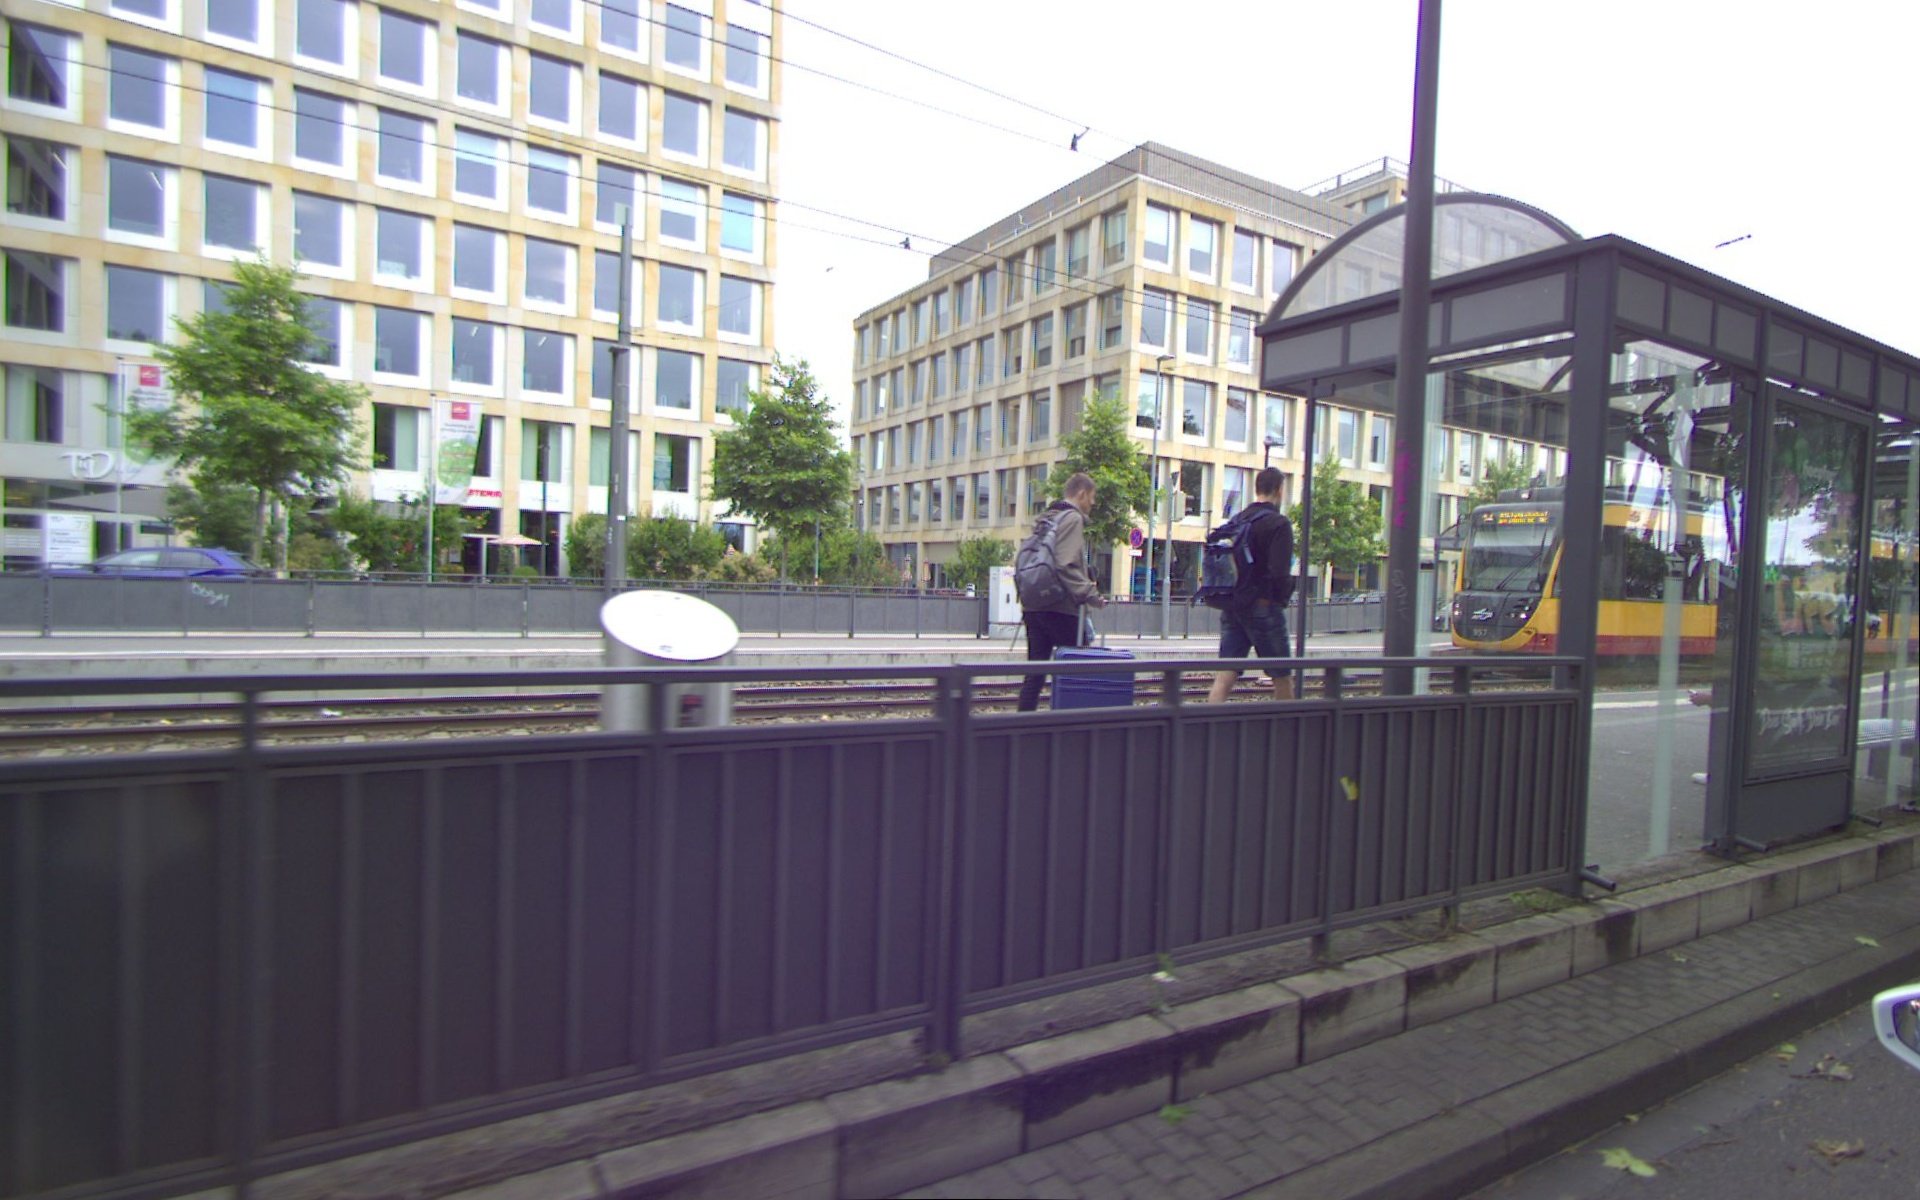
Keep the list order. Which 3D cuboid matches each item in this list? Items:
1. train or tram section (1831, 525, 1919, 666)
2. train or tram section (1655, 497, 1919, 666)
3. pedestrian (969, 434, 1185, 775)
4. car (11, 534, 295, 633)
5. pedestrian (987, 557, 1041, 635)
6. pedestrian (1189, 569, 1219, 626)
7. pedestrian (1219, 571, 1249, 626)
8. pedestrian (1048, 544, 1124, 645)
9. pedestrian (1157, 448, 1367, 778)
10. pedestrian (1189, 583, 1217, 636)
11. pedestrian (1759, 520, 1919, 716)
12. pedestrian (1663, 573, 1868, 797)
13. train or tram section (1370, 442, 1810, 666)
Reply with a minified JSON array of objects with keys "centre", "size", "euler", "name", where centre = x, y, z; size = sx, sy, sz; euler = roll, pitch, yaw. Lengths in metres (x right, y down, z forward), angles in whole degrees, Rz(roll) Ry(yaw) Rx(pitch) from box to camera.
[{"centre":[34.300,0.061,33.944],"size":[13.463,4.234,3.164],"euler":[2,1,-31],"name":"train or tram section"},{"centre":[23.713,-0.293,27.584],"size":[11.181,3.913,3.147],"euler":[2,1,-31],"name":"train or tram section"},{"centre":[0.711,0.028,5.986],"size":[1.105,1.817,0.663],"euler":[2,1,-44],"name":"pedestrian"},{"centre":[-15.427,-0.283,19.528],"size":[3.951,1.684,1.985],"euler":[2,1,-29],"name":"car"},{"centre":[1.453,-0.116,27.025],"size":[1.021,2.040,0.928],"euler":[2,1,-32],"name":"pedestrian"},{"centre":[8.920,-0.106,36.765],"size":[0.717,2.040,0.709],"euler":[2,1,-31],"name":"pedestrian"},{"centre":[10.453,-0.054,38.305],"size":[0.717,2.040,0.709],"euler":[2,1,-31],"name":"pedestrian"},{"centre":[2.334,-0.095,18.642],"size":[1.148,1.819,0.707],"euler":[2,1,-32],"name":"pedestrian"},{"centre":[1.854,0.077,6.138],"size":[1.104,1.817,0.664],"euler":[2,1,-39],"name":"pedestrian"},{"centre":[9.527,0.381,39.412],"size":[0.717,2.040,0.709],"euler":[2,1,-31],"name":"pedestrian"},{"centre":[9.705,0.183,11.114],"size":[0.830,2.040,1.053],"euler":[2,1,-30],"name":"pedestrian"},{"centre":[5.172,0.506,6.475],"size":[0.606,1.321,0.830],"euler":[2,1,-32],"name":"pedestrian"},{"centre":[13.995,-0.664,21.808],"size":[11.181,3.913,3.221],"euler":[2,1,-31],"name":"train or tram section"}]
